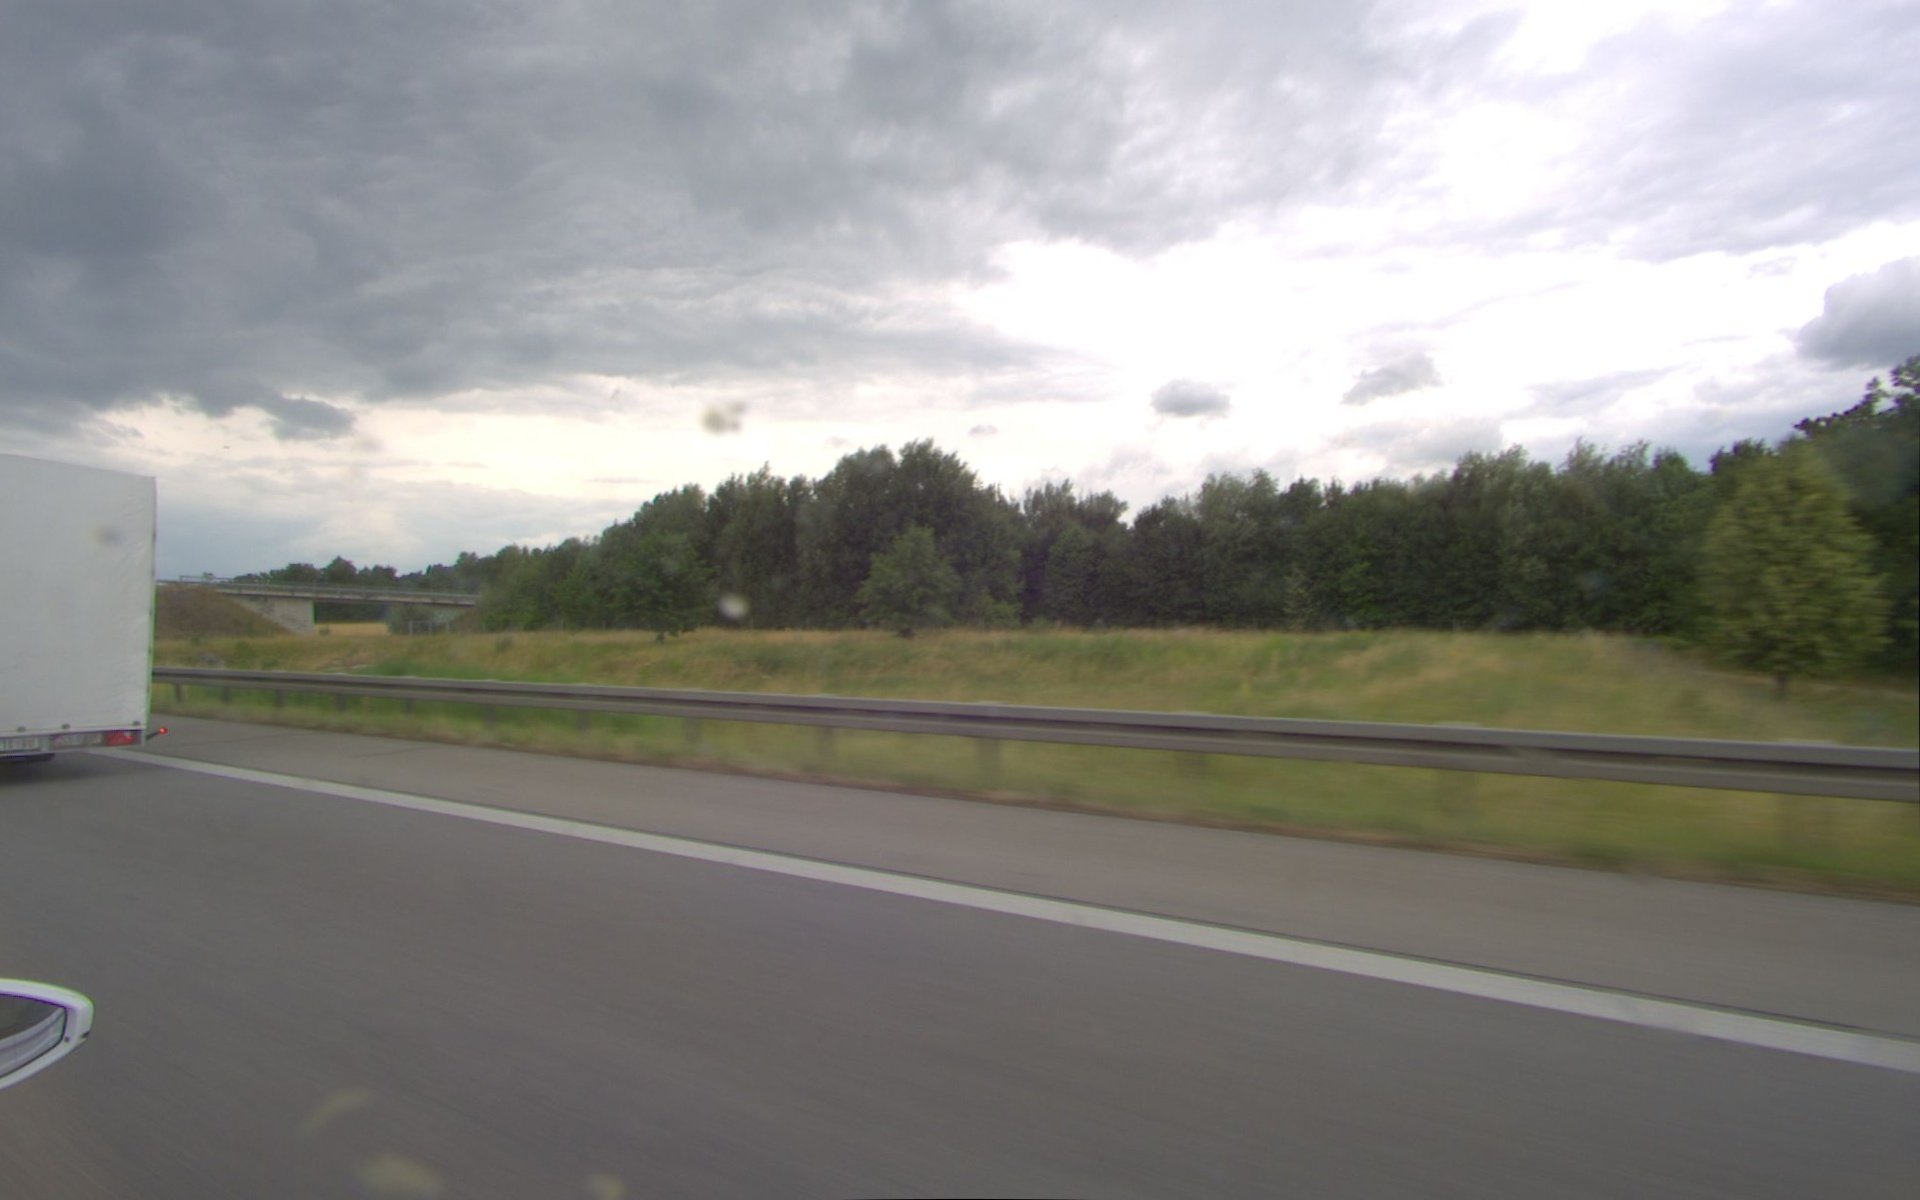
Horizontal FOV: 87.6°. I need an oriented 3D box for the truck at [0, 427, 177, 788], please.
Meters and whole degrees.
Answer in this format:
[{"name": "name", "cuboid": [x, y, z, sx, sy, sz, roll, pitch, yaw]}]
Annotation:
[{"name": "truck", "cuboid": [-11.611, 0.114, 10.991, 7.038, 3.264, 2.411, -1, -1, 31]}]
